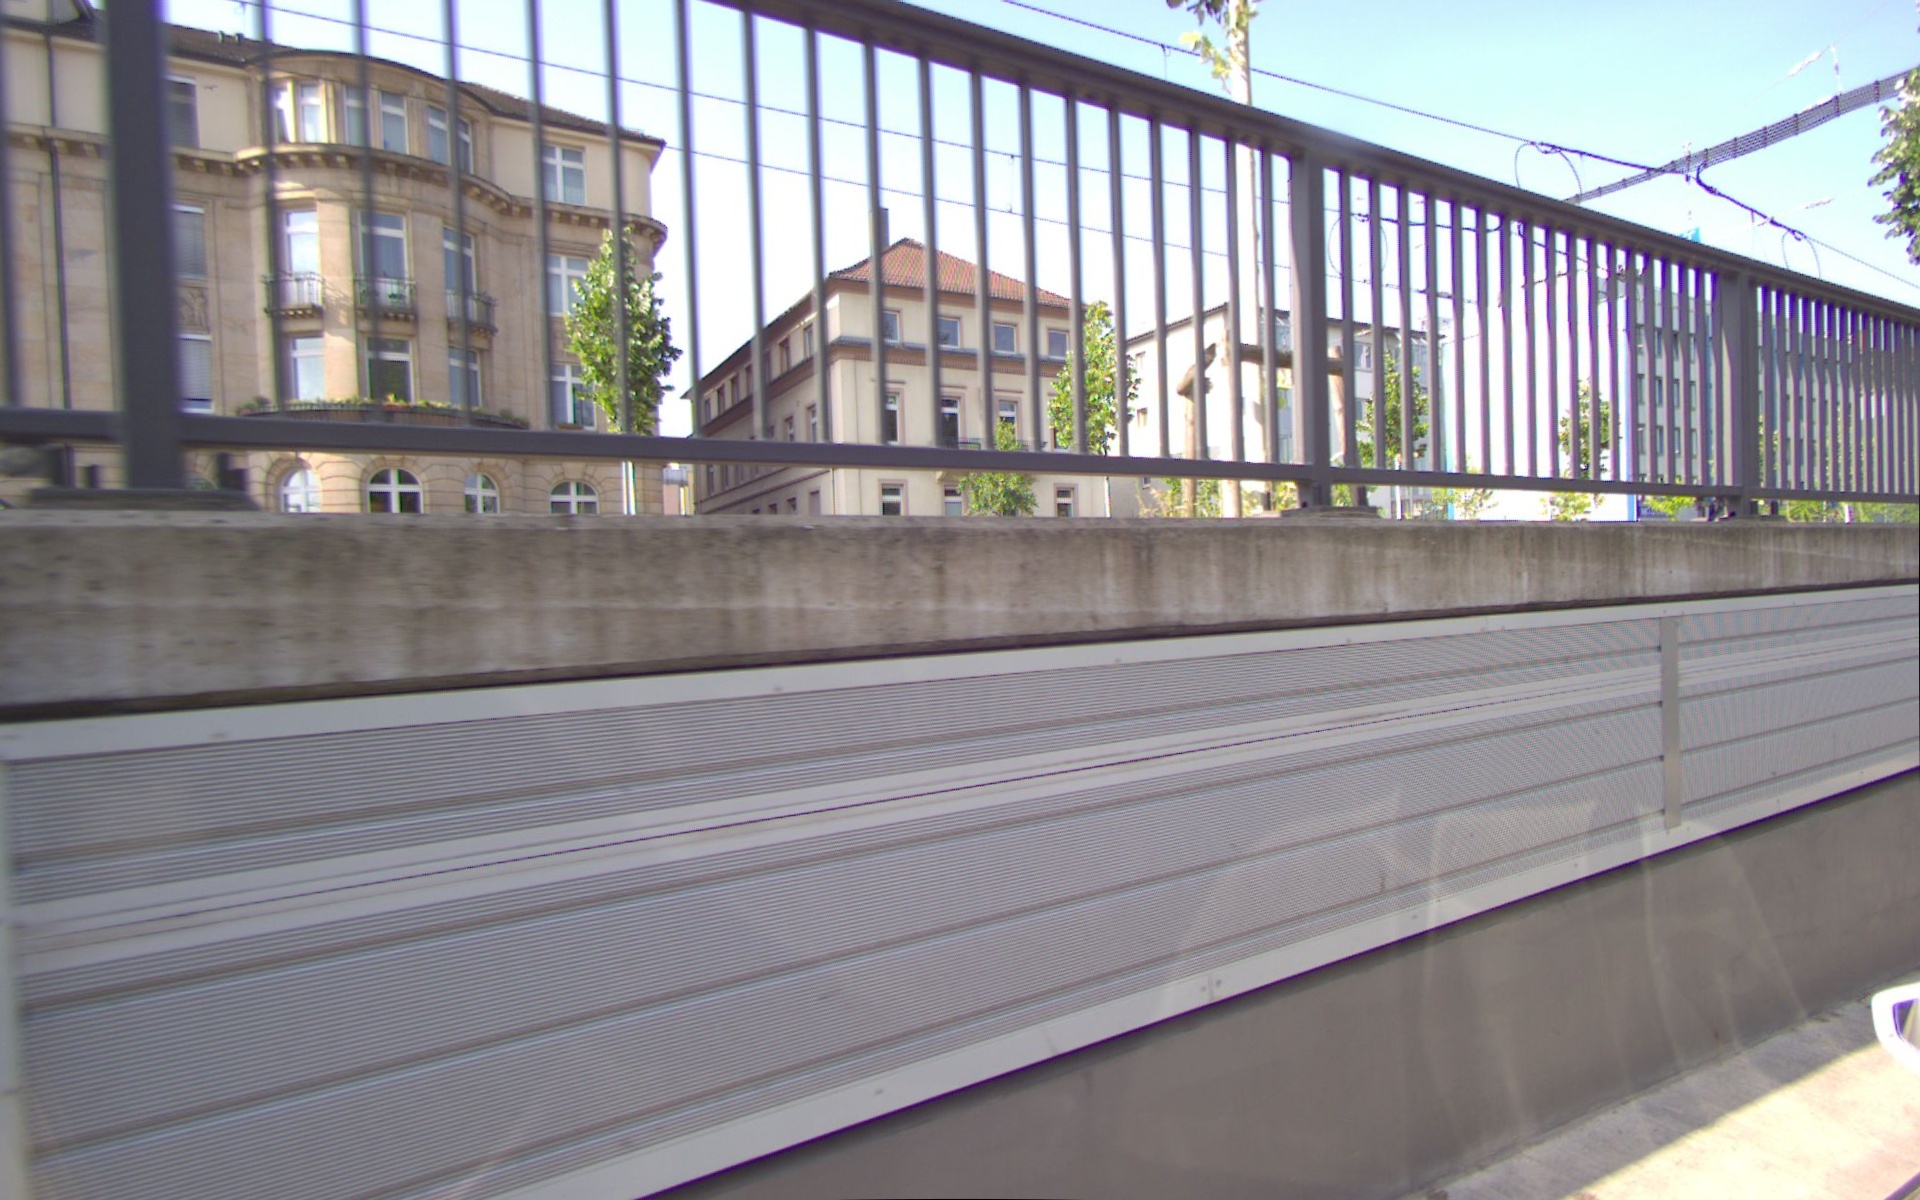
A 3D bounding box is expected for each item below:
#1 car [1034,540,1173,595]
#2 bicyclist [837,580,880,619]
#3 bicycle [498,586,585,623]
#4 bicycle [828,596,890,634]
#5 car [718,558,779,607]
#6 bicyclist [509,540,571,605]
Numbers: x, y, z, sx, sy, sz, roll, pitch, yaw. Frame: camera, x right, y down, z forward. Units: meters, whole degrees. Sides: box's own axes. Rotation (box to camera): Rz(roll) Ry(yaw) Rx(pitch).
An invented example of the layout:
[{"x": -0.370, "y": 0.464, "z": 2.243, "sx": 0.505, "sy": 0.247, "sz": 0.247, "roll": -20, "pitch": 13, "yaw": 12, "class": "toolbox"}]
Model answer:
[{"x": 5.647, "y": -1.257, "z": 39.393, "sx": 5.203, "sy": 2.041, "sz": 2.237, "roll": -1, "pitch": 2, "yaw": -32, "class": "car"}, {"x": -3.198, "y": -0.021, "z": 31.703, "sx": 1.237, "sy": 1.194, "sz": 0.529, "roll": 2, "pitch": 1, "yaw": -32, "class": "bicyclist"}, {"x": -11.301, "y": 0.120, "z": 27.169, "sx": 2.120, "sy": 0.939, "sz": 0.657, "roll": 0, "pitch": 4, "yaw": -29, "class": "bicycle"}, {"x": -3.180, "y": 0.478, "z": 31.724, "sx": 1.855, "sy": 1.107, "sz": 0.529, "roll": 2, "pitch": 0, "yaw": -32, "class": "bicycle"}, {"x": -9.327, "y": -0.798, "z": 44.122, "sx": 1.581, "sy": 2.041, "sz": 3.905, "roll": -1, "pitch": 2, "yaw": -29, "class": "car"}, {"x": -11.325, "y": -0.738, "z": 27.110, "sx": 1.497, "sy": 1.716, "sz": 0.471, "roll": 0, "pitch": 4, "yaw": -30, "class": "bicyclist"}]
